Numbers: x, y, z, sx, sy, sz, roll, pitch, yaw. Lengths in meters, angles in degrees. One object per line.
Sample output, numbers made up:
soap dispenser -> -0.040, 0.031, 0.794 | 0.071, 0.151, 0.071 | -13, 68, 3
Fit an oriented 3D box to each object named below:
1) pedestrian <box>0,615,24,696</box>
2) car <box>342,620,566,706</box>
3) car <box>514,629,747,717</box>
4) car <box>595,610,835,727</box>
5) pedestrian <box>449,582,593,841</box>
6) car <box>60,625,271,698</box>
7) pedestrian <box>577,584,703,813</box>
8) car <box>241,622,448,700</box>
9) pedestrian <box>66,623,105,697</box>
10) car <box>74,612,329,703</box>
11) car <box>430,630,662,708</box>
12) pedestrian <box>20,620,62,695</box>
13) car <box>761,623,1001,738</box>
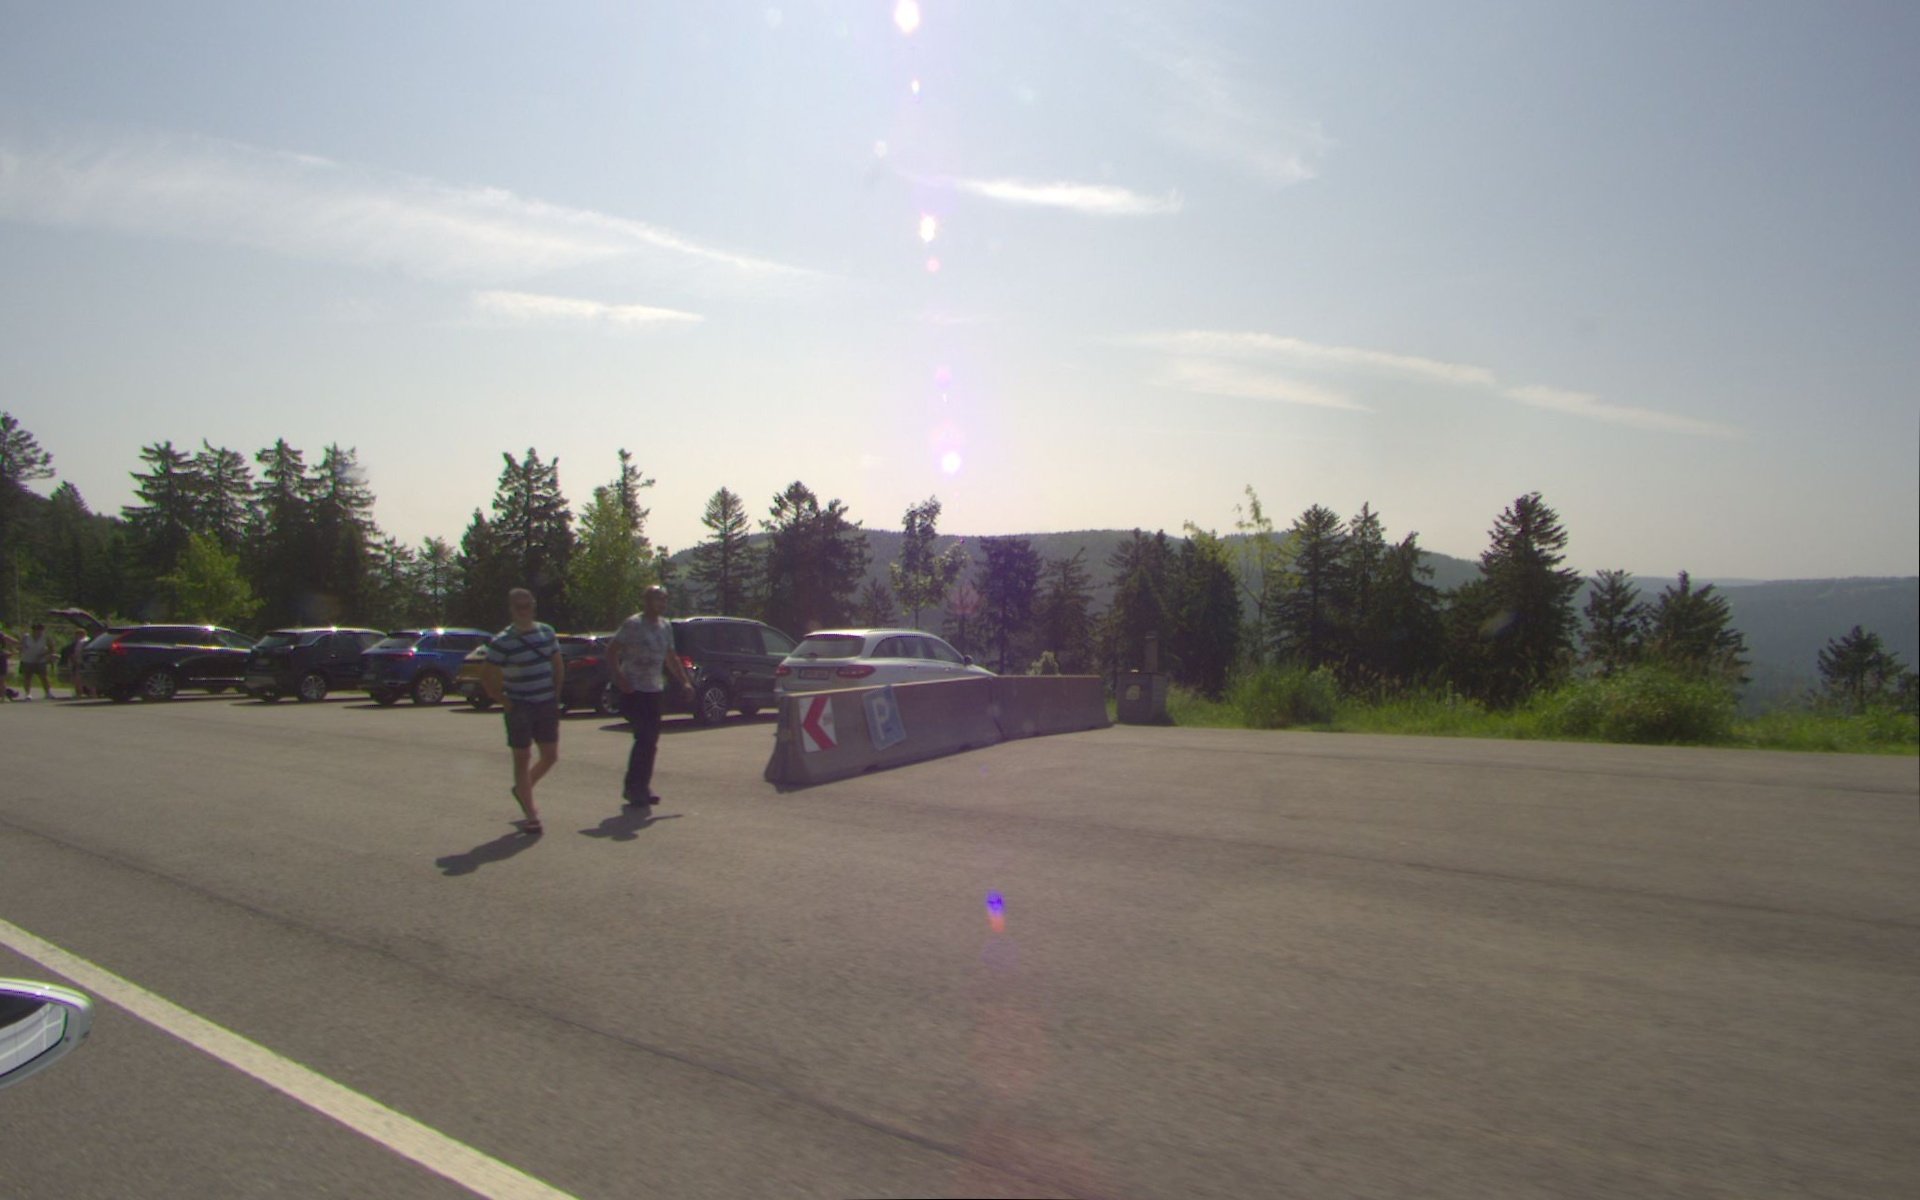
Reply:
pedestrian -> -20.481, 1.175, 21.334 | 0.611, 1.714, 0.713 | 0, 0, 39
car -> -10.749, 1.267, 21.552 | 1.778, 1.556, 3.985 | 3, 1, 28
car -> -6.043, 1.348, 18.826 | 1.737, 1.454, 3.995 | -1, -4, 30
car -> -3.853, 1.091, 16.451 | 1.575, 1.667, 3.987 | -1, -3, 28
pedestrian -> -3.260, 0.771, 7.440 | 0.749, 1.784, 0.767 | -1, 1, -45
car -> -19.775, 1.499, 25.101 | 1.627, 1.681, 3.817 | -1, -3, 27
pedestrian -> -2.653, 0.765, 8.279 | 0.660, 1.764, 0.885 | -1, 1, -45
car -> -13.739, 1.298, 22.577 | 1.574, 1.587, 3.752 | -1, -1, 26
pedestrian -> -19.860, 1.340, 22.746 | 0.612, 1.609, 0.729 | -1, 2, -39
car -> -17.197, 1.222, 22.937 | 1.863, 1.817, 4.260 | 2, 0, 29
car -> -8.219, 1.307, 20.235 | 1.958, 1.370, 3.982 | -1, -1, 30
pedestrian -> -21.240, 1.314, 23.146 | 0.680, 1.683, 0.648 | 2, 2, 45
car -> -1.044, 1.152, 15.282 | 1.746, 1.495, 3.985 | 0, -3, 29
